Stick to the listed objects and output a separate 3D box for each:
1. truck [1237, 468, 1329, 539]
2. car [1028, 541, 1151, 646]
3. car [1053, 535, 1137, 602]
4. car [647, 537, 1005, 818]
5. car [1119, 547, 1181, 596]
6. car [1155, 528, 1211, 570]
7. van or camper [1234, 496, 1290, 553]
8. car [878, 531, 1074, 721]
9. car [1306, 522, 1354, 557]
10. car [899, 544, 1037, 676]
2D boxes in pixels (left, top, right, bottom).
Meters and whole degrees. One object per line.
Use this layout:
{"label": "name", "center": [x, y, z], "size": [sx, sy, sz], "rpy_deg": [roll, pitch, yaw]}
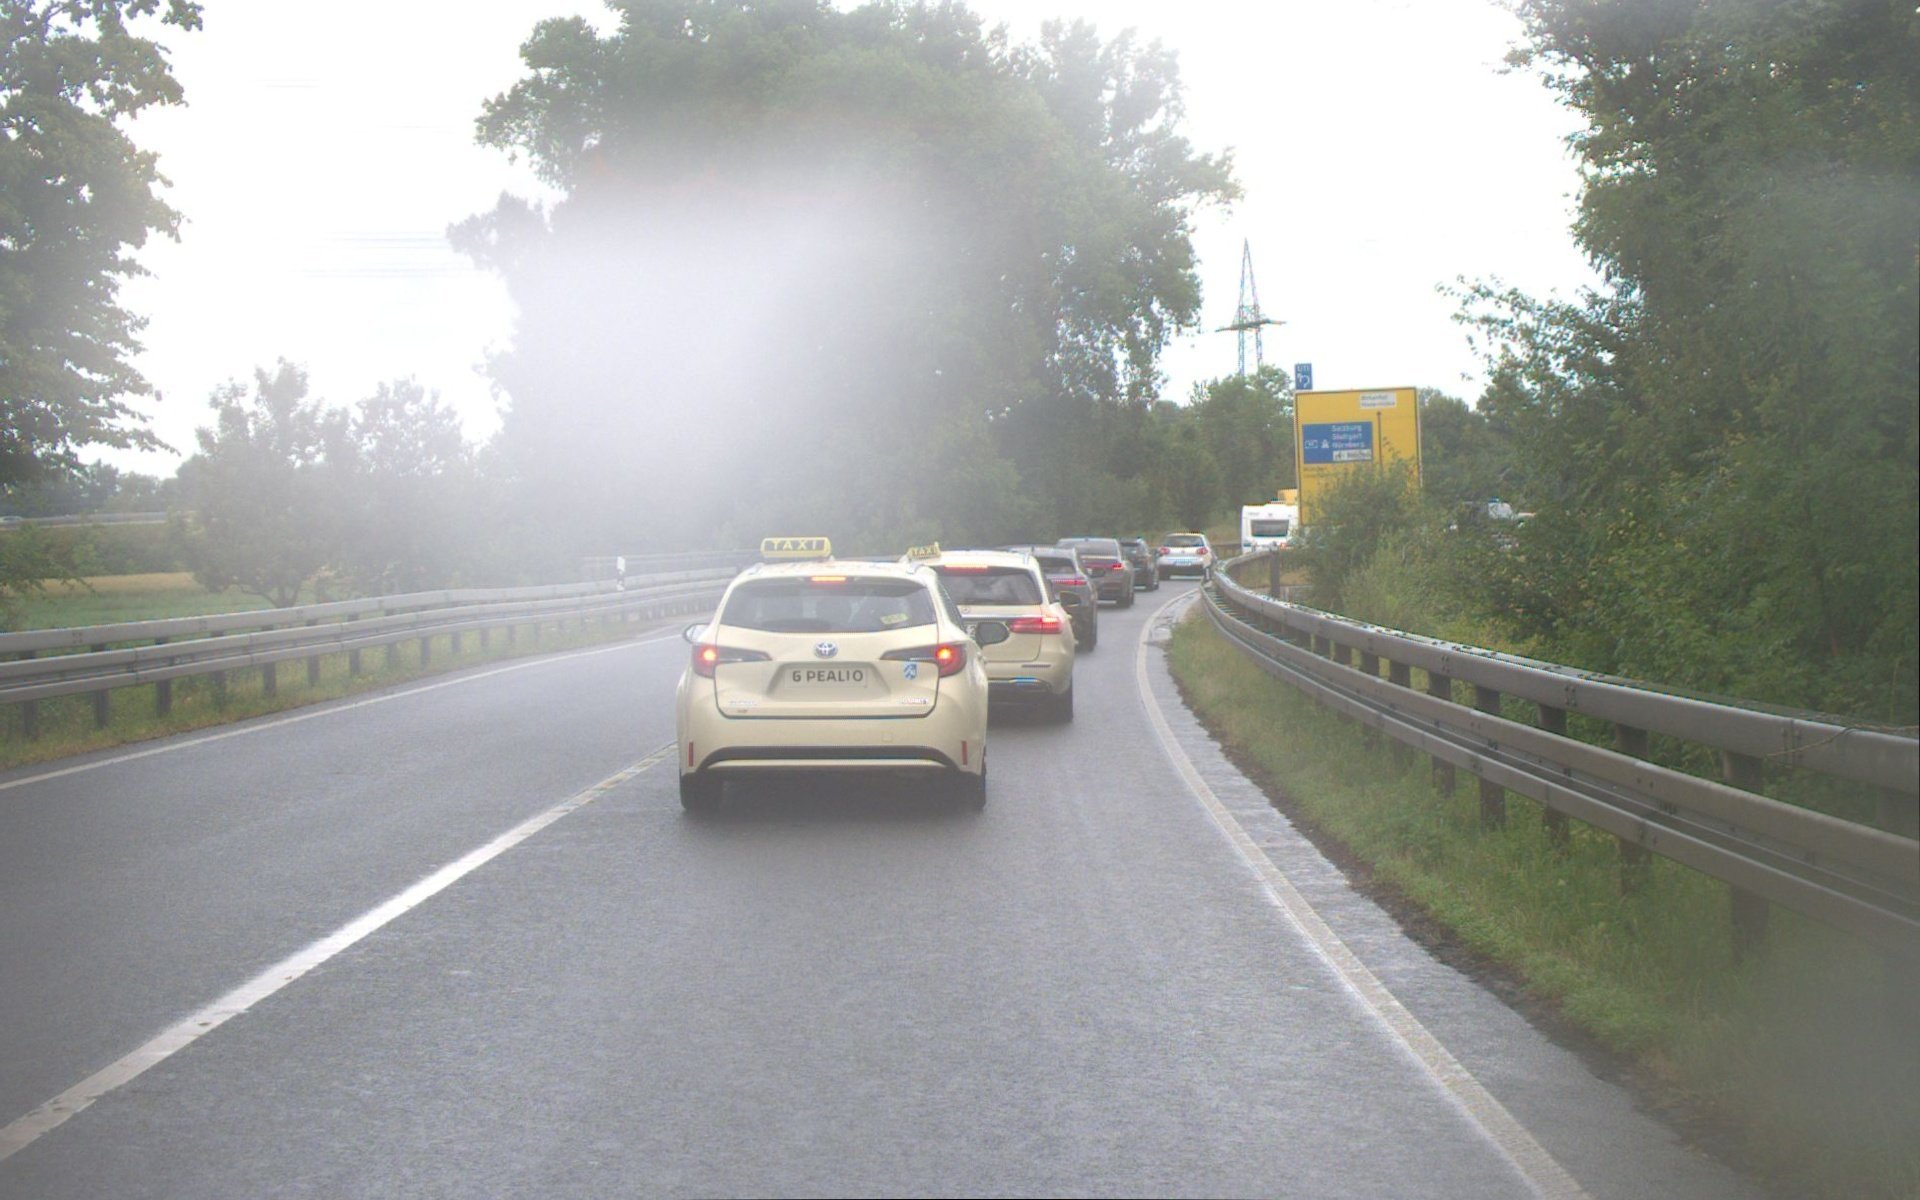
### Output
{"label": "truck", "center": [16.500, -4.969, 175.077], "size": [2.773, 3.417, 9.181], "rpy_deg": [2, 3, 17]}
{"label": "car", "center": [1.843, -0.116, 49.735], "size": [1.665, 1.459, 3.477], "rpy_deg": [0, 1, 1]}
{"label": "car", "center": [2.934, -0.659, 74.004], "size": [1.660, 1.404, 3.904], "rpy_deg": [0, 0, 4]}
{"label": "car", "center": [-0.705, 0.390, 20.821], "size": [1.906, 1.532, 4.161], "rpy_deg": [0, 1, 1]}
{"label": "car", "center": [5.136, -0.778, 92.631], "size": [1.483, 1.304, 3.476], "rpy_deg": [0, 1, 7]}
{"label": "car", "center": [7.126, -1.625, 109.570], "size": [1.483, 1.304, 3.476], "rpy_deg": [0, 1, 9]}
{"label": "van or camper", "center": [12.207, -3.025, 138.888], "size": [1.994, 2.246, 3.999], "rpy_deg": [0, 0, 8]}
{"label": "car", "center": [0.194, 0.187, 30.307], "size": [1.578, 1.567, 3.681], "rpy_deg": [0, 1, 3]}
{"label": "car", "center": [17.140, -2.787, 159.269], "size": [1.648, 1.580, 3.680], "rpy_deg": [1, 1, 15]}
{"label": "car", "center": [0.061, 0.082, 39.309], "size": [1.506, 1.432, 3.356], "rpy_deg": [0, 1, -1]}
